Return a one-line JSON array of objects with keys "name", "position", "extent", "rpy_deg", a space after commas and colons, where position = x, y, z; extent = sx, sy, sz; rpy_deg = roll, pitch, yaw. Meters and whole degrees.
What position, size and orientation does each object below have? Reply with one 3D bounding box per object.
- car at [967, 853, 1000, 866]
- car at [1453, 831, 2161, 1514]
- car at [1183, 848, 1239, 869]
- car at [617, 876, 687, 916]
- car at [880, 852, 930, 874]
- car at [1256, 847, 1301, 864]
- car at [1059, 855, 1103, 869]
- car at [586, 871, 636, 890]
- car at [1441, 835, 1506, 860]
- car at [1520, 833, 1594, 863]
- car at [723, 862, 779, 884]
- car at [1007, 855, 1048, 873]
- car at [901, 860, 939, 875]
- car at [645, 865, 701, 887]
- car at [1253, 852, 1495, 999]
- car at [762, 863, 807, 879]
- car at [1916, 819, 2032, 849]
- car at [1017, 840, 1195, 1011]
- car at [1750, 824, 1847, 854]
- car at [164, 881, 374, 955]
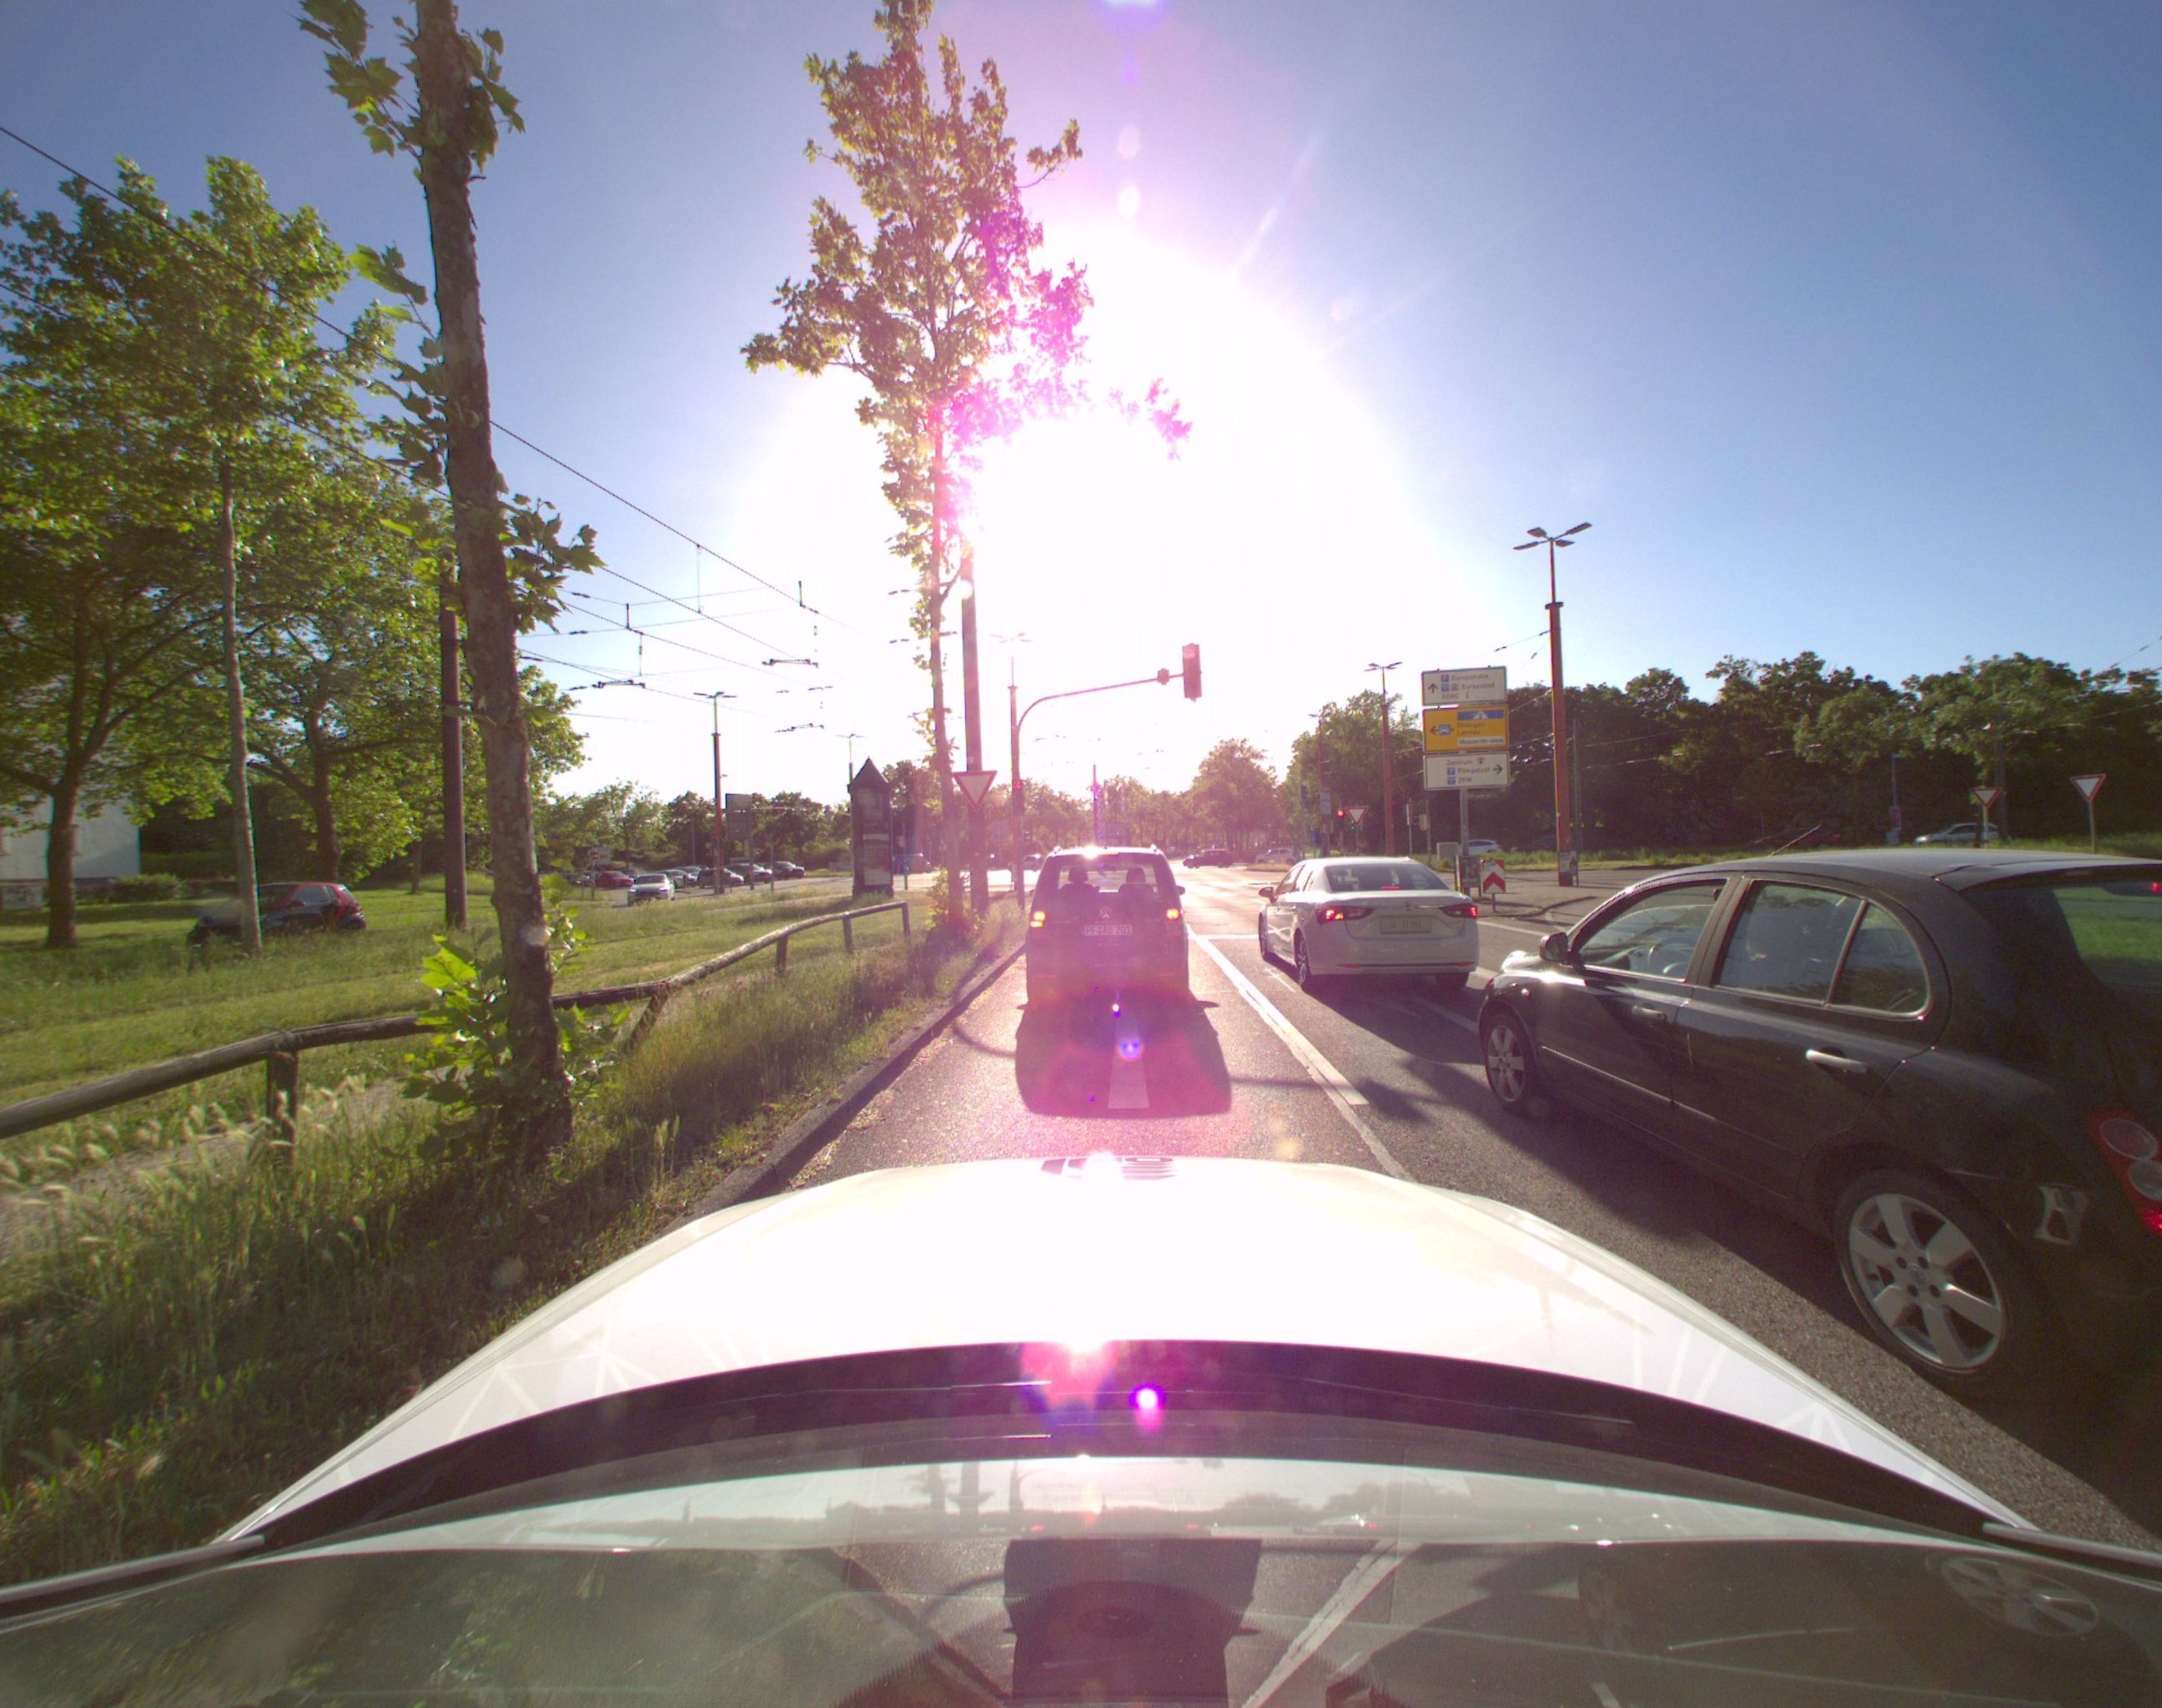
[{"name": "car", "position": [-12.154, 0.686, 101.749], "extent": [1.896, 1.635, 4.025], "rpy_deg": [-1, -1, 39]}, {"name": "car", "position": [3.222, 0.692, 3.578], "extent": [1.647, 1.500, 3.617], "rpy_deg": [-1, 0, 2]}, {"name": "car", "position": [10.574, 0.349, 66.246], "extent": [3.987, 1.596, 2.012], "rpy_deg": [-2, 0, 25]}, {"name": "car", "position": [-21.368, 2.038, 40.757], "extent": [1.997, 1.731, 4.821], "rpy_deg": [-1, 0, -14]}, {"name": "car", "position": [-17.605, 0.888, 81.283], "extent": [4.528, 2.013, 2.012], "rpy_deg": [-2, 0, 26]}, {"name": "car", "position": [16.272, 0.095, 67.078], "extent": [3.404, 1.368, 1.298], "rpy_deg": [0, -1, 28]}, {"name": "car", "position": [-0.014, 0.723, 76.339], "extent": [3.793, 1.264, 1.612], "rpy_deg": [0, -1, 25]}, {"name": "car", "position": [-39.416, 2.237, 68.239], "extent": [3.949, 1.513, 1.743], "rpy_deg": [-2, 0, 27]}, {"name": "car", "position": [28.823, -0.452, 59.843], "extent": [4.190, 1.681, 1.713], "rpy_deg": [-2, 0, 25]}, {"name": "car", "position": [32.032, -0.368, 54.961], "extent": [4.154, 1.883, 1.777], "rpy_deg": [-2, 0, 25]}, {"name": "car", "position": [-26.548, 1.545, 65.437], "extent": [3.950, 1.644, 2.012], "rpy_deg": [-2, 0, 26]}, {"name": "car", "position": [-4.797, 0.895, 73.075], "extent": [3.363, 1.457, 1.473], "rpy_deg": [-2, 0, 25]}, {"name": "car", "position": [-17.077, 1.404, 86.267], "extent": [3.700, 1.473, 1.610], "rpy_deg": [-2, 0, 28]}, {"name": "car", "position": [-32.386, 1.729, 64.654], "extent": [4.135, 1.612, 1.880], "rpy_deg": [-2, 0, 27]}, {"name": "car", "position": [3.330, 0.710, 10.142], "extent": [1.713, 1.438, 4.202], "rpy_deg": [-1, 0, 3]}, {"name": "car", "position": [-26.530, 1.483, 72.838], "extent": [3.948, 1.330, 1.709], "rpy_deg": [-2, 0, 33]}, {"name": "car", "position": [49.059, -1.073, 44.847], "extent": [3.961, 1.527, 1.718], "rpy_deg": [-2, 0, 30]}, {"name": "car", "position": [0.299, 0.701, 9.924], "extent": [1.694, 1.621, 3.898], "rpy_deg": [-2, 0, 1]}, {"name": "car", "position": [44.931, -0.940, 51.121], "extent": [4.249, 1.705, 1.858], "rpy_deg": [-2, 0, 31]}, {"name": "car", "position": [-18.087, 1.375, 18.322], "extent": [1.791, 1.390, 2.850], "rpy_deg": [-2, 0, 2]}]
